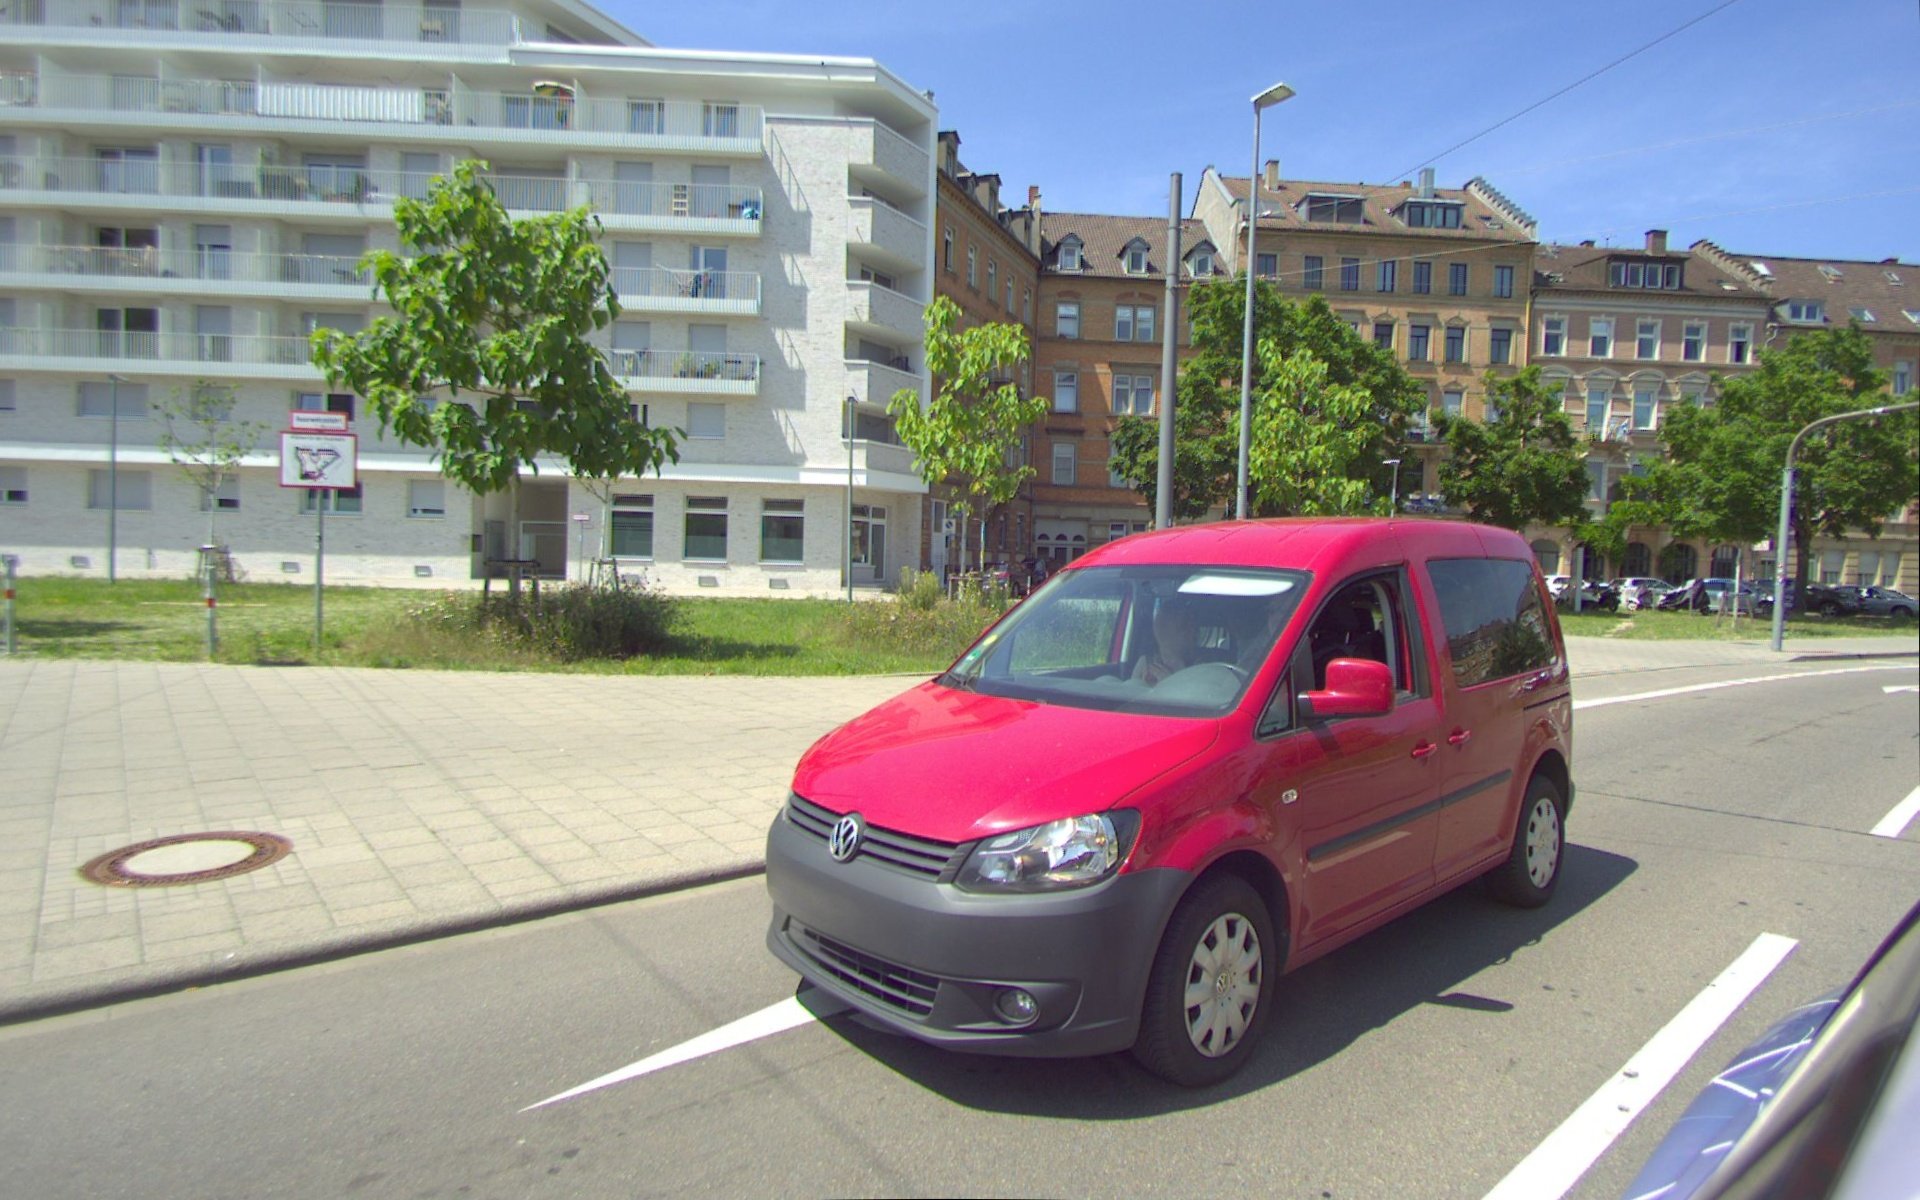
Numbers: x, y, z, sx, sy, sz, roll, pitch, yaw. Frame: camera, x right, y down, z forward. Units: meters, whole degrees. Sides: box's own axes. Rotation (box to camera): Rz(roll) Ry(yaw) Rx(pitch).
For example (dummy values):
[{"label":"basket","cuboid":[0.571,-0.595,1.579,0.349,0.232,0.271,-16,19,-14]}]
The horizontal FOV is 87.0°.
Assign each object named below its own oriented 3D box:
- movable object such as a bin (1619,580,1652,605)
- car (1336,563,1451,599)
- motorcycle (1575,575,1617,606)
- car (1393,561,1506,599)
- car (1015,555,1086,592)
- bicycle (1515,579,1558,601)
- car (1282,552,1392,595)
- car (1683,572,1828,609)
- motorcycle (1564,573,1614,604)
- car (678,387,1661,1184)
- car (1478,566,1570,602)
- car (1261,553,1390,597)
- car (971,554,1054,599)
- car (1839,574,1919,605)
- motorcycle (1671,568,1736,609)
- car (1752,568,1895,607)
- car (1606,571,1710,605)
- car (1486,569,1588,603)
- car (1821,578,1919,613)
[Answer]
[{"label":"movable object such as a bin","cuboid":[26.648,-0.304,39.935,0.690,0.948,0.986,2,1,9]},{"label":"car","cuboid":[17.321,-0.775,40.623,1.723,1.349,4.006,1,1,-29]},{"label":"motorcycle","cuboid":[26.603,-0.413,42.372,0.800,1.251,2.077,2,1,13]},{"label":"car","cuboid":[19.870,-0.824,41.218,1.575,1.450,3.873,1,1,-31]},{"label":"car","cuboid":[4.090,-1.150,45.206,1.760,1.548,4.044,2,1,27]},{"label":"bicycle","cuboid":[22.866,-0.391,40.154,1.445,0.815,0.493,2,1,33]},{"label":"car","cuboid":[18.389,-1.289,49.452,4.564,1.927,1.927,1,1,-2]},{"label":"car","cuboid":[32.305,-0.423,41.245,1.550,1.393,4.355,1,1,-28]},{"label":"motorcycle","cuboid":[23.745,-0.434,38.224,0.517,1.134,1.831,1,1,-9]},{"label":"car","cuboid":[1.470,0.428,4.757,5.077,1.857,1.858,1,1,-42]},{"label":"car","cuboid":[24.003,-0.679,43.230,1.923,1.393,3.994,2,1,6]},{"label":"car","cuboid":[14.517,-1.016,40.477,1.799,1.621,4.881,1,1,-29]},{"label":"car","cuboid":[2.092,-0.883,39.149,1.679,1.645,4.091,2,1,27]},{"label":"car","cuboid":[46.143,-0.529,50.155,3.643,1.438,1.786,1,1,-3]},{"label":"motorcycle","cuboid":[27.511,-0.445,37.469,1.821,1.430,0.678,2,2,-1]},{"label":"car","cuboid":[35.461,-0.535,41.662,1.762,1.488,4.098,1,1,-29]},{"label":"car","cuboid":[34.616,-0.590,50.257,3.921,1.549,1.844,1,1,-4]},{"label":"car","cuboid":[28.498,-0.701,50.028,3.924,1.549,1.842,2,1,0]},{"label":"car","cuboid":[38.158,-0.182,41.421,1.931,1.330,4.008,1,1,-24]}]
